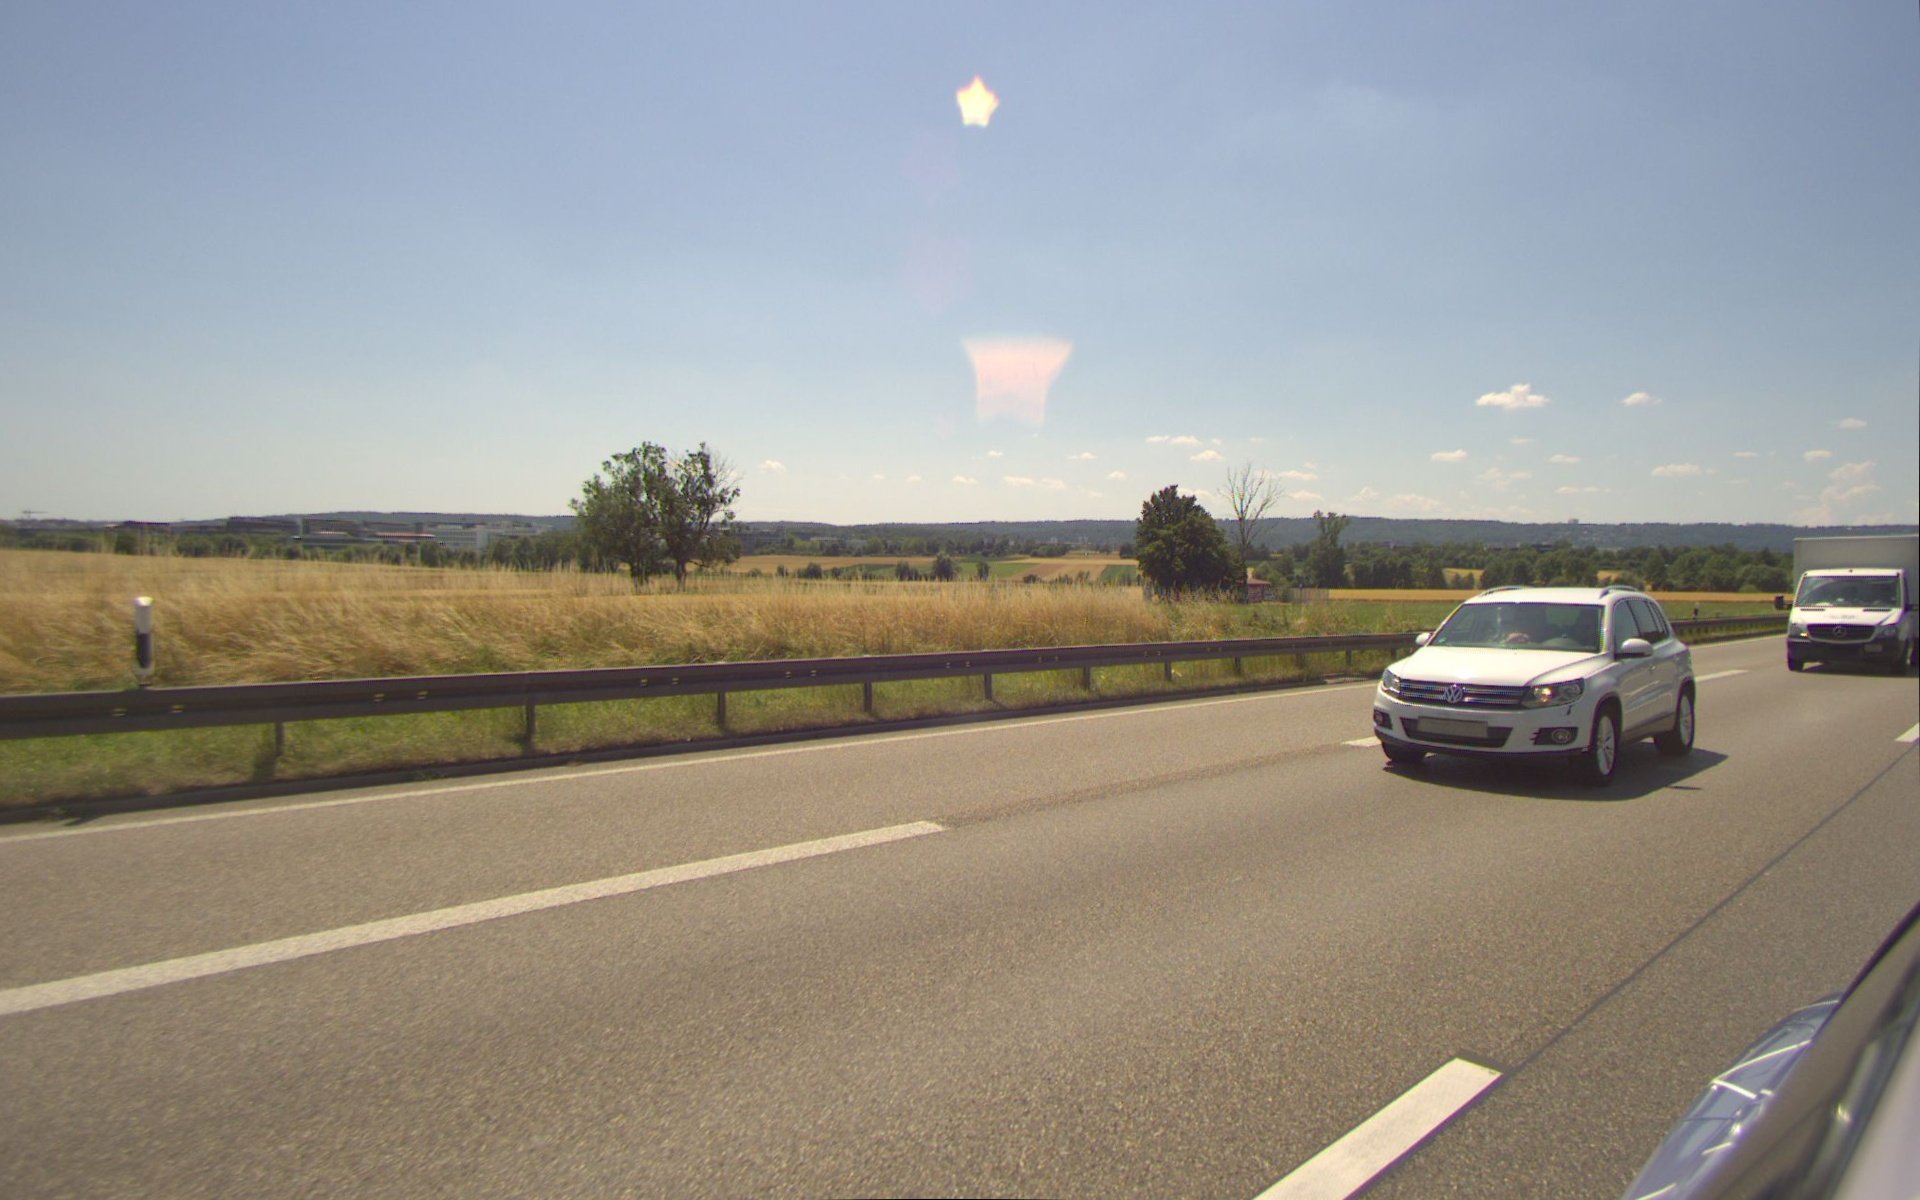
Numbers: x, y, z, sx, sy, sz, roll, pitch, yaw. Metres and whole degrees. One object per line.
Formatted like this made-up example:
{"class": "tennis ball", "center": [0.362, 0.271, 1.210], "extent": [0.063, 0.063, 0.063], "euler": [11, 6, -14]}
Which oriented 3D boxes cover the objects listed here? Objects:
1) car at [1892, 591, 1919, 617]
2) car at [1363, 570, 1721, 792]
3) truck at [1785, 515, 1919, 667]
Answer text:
{"class": "car", "center": [67.841, 0.250, 72.150], "extent": [3.935, 1.811, 1.907], "euler": [0, 1, -45]}
{"class": "car", "center": [5.693, 0.609, 9.687], "extent": [4.102, 1.666, 1.834], "euler": [0, 0, -43]}
{"class": "truck", "center": [21.165, -0.188, 23.437], "extent": [6.802, 3.066, 2.440], "euler": [0, 0, -44]}
